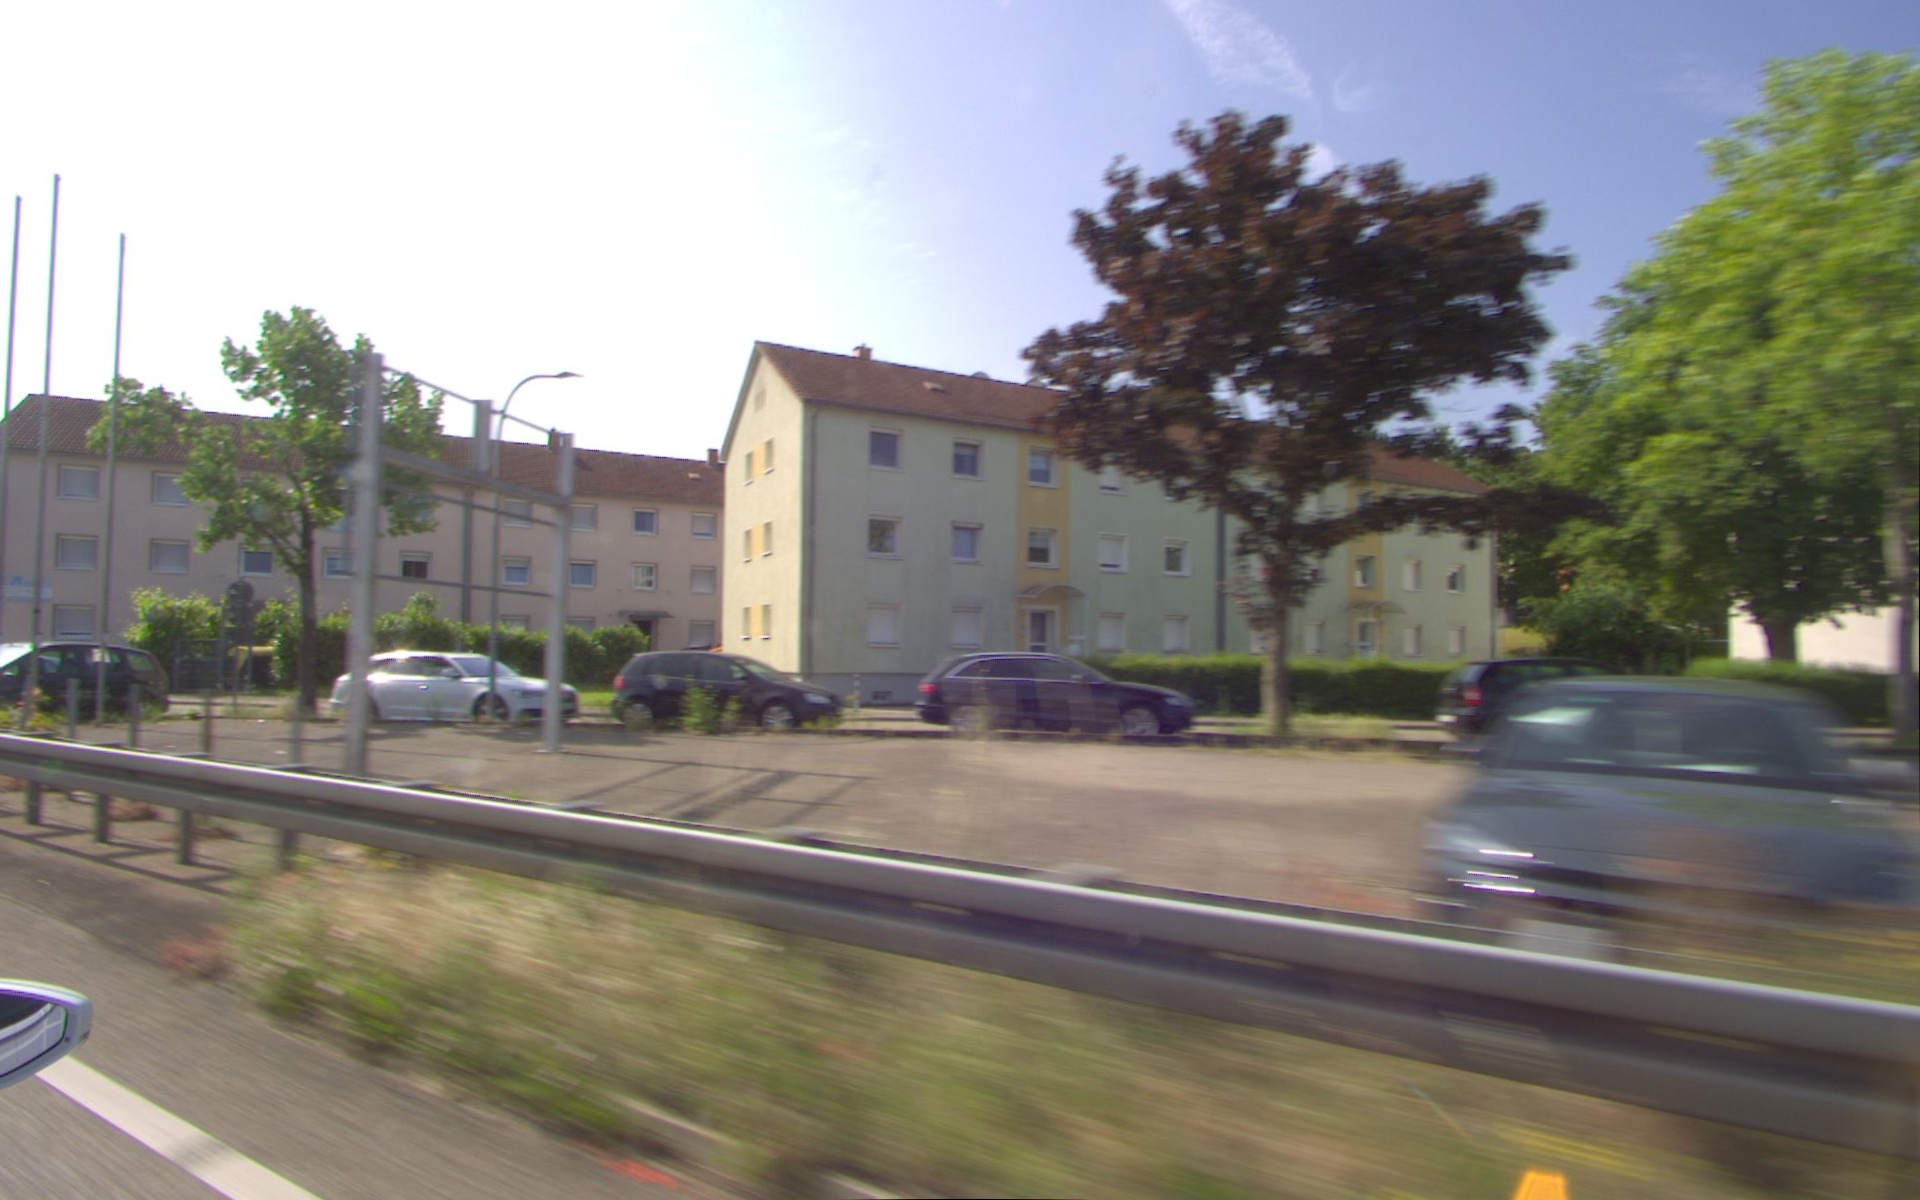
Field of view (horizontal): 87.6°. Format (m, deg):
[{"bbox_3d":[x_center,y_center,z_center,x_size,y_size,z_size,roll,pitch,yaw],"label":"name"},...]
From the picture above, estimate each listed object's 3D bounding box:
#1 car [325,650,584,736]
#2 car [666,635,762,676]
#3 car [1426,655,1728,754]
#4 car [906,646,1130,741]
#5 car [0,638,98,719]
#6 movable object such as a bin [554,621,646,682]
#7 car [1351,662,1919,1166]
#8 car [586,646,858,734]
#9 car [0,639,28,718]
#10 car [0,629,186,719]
[{"bbox_3d":[-9.653,1.719,19.191,4.357,1.438,1.788,0,-2,16],"label":"car"},{"bbox_3d":[-11.010,2.507,44.840,3.936,1.759,1.813,2,-5,-24],"label":"car"},{"bbox_3d":[9.361,1.552,15.477,3.593,1.384,1.656,0,-2,11],"label":"car"},{"bbox_3d":[1.046,1.528,16.971,3.593,1.423,1.709,1,-2,11],"label":"car"},{"bbox_3d":[-18.453,1.397,18.066,1.734,1.466,3.998,-1,-6,20],"label":"car"},{"bbox_3d":[-14.859,2.158,41.471,3.471,2.385,1.585,1,-5,-17],"label":"movable object such as a bin"},{"bbox_3d":[3.546,1.110,5.168,1.858,1.501,4.139,-1,-4,36],"label":"car"},{"bbox_3d":[-4.161,1.542,17.762,4.399,1.423,1.709,0,-2,11],"label":"car"},{"bbox_3d":[-20.855,1.424,18.946,1.884,1.590,4.248,-1,-6,18],"label":"car"},{"bbox_3d":[-16.172,1.251,17.446,1.697,1.470,4.069,-1,-2,15],"label":"car"}]
